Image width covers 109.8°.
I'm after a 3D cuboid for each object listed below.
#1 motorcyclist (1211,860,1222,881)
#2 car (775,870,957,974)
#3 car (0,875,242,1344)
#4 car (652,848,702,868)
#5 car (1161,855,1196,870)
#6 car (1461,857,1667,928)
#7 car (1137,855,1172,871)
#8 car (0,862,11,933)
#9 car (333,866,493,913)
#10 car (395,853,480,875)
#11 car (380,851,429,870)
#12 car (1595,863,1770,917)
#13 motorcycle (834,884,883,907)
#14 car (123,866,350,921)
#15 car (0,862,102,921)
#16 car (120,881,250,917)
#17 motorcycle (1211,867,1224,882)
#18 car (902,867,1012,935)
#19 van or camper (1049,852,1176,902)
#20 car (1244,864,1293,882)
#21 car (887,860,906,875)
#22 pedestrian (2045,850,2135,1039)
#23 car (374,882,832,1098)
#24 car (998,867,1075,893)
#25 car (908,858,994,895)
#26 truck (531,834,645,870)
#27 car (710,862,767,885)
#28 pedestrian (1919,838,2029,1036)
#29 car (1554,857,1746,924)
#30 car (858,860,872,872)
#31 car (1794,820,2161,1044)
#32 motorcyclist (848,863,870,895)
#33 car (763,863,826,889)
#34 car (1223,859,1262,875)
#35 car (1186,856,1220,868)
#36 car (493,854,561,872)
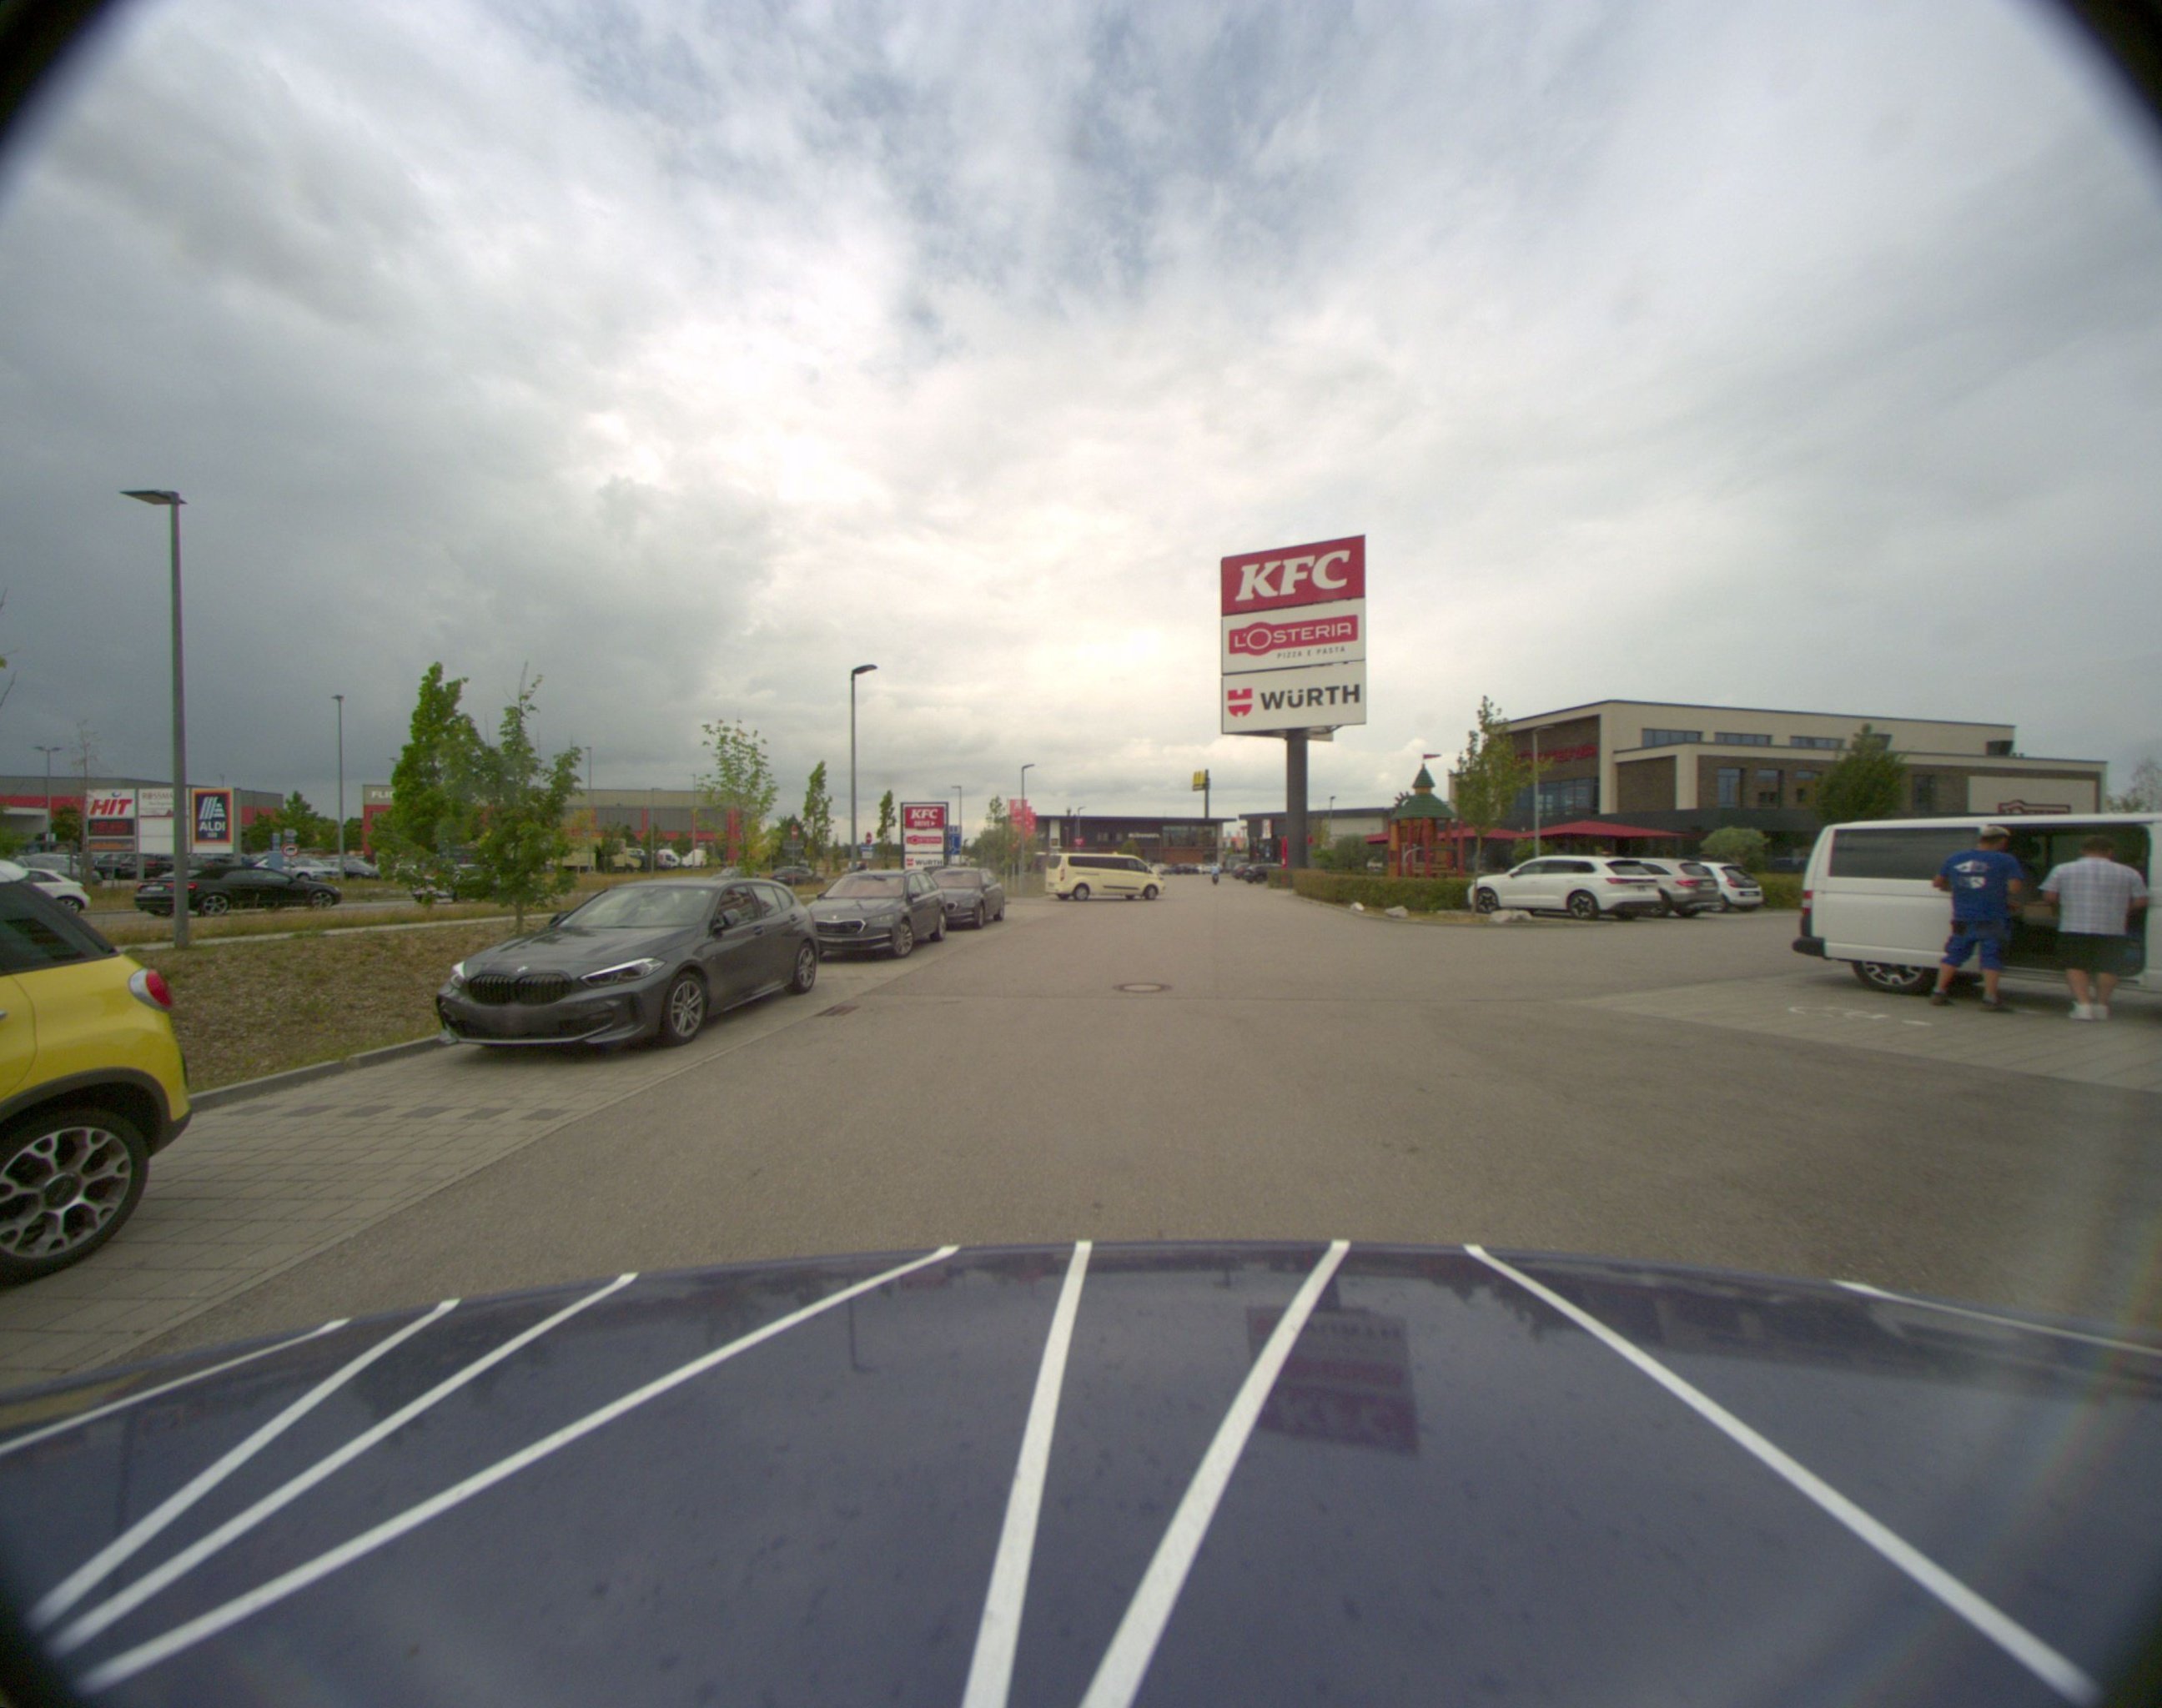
[{"bbox_3d":[10.439,1.268,58.348,0.753,1.628,1.038,-1,0,7],"label":"motorcyclist"},{"bbox_3d":[-3.667,1.089,13.910,1.751,1.482,4.634,-1,0,3],"label":"car"},{"bbox_3d":[-4.673,0.938,1.366,1.752,1.673,4.296,-1,0,-5],"label":"car"},{"bbox_3d":[-43.488,0.443,81.862,4.441,2.110,1.997,-1,0,-14],"label":"car"},{"bbox_3d":[12.732,1.119,99.483,3.989,2.002,2.004,-1,0,36],"label":"car"},{"bbox_3d":[13.239,0.965,21.225,1.760,1.738,4.733,0,0,-22],"label":"car"},{"bbox_3d":[9.499,1.156,97.749,3.989,2.002,2.004,-1,0,36],"label":"car"},{"bbox_3d":[-24.645,0.932,14.620,1.907,1.559,4.337,0,0,3],"label":"car"},{"bbox_3d":[-23.289,1.181,26.705,1.820,1.486,4.003,0,0,8],"label":"car"},{"bbox_3d":[-43.353,0.659,51.257,3.997,1.433,2.000,-1,0,0],"label":"car"},{"bbox_3d":[-60.001,0.546,67.489,1.764,1.644,3.830,0,1,-16],"label":"car"},{"bbox_3d":[19.168,1.070,24.362,2.004,1.556,3.990,-1,0,-35],"label":"car"},{"bbox_3d":[-9.206,1.708,31.449,1.866,0.911,0.556,0,0,7],"label":"motorcycle"},{"bbox_3d":[-24.073,1.058,21.904,1.907,1.389,4.002,0,0,6],"label":"car"},{"bbox_3d":[-28.388,0.967,19.237,1.756,1.472,4.059,-1,0,9],"label":"car"},{"bbox_3d":[-40.880,2.023,34.707,3.994,1.521,2.001,-1,0,9],"label":"car"},{"bbox_3d":[10.423,1.543,58.125,0.816,1.069,2.151,0,0,7],"label":"motorcycle"},{"bbox_3d":[-3.059,1.122,19.657,1.751,1.482,4.489,-1,0,5],"label":"car"},{"bbox_3d":[1.383,0.937,33.003,5.240,2.049,1.856,0,0,-23],"label":"van or camper"},{"bbox_3d":[14.822,1.484,60.063,3.441,1.288,1.499,-1,0,-3],"label":"car"},{"bbox_3d":[-22.624,1.671,93.429,1.907,1.803,3.997,0,0,-8],"label":"car"},{"bbox_3d":[9.364,0.810,7.056,0.586,1.692,0.360,0,0,-22],"label":"pedestrian"},{"bbox_3d":[-4.174,1.071,7.655,1.751,1.407,4.306,-1,0,2],"label":"car"},{"bbox_3d":[-2.407,1.421,41.898,3.995,1.412,1.811,0,0,6],"label":"car"},{"bbox_3d":[-5.290,0.899,31.142,3.121,1.438,1.508,1,0,7],"label":"car"},{"bbox_3d":[-43.338,-0.197,67.162,2.673,2.928,8.197,0,1,25],"label":"truck"},{"bbox_3d":[-24.068,1.333,53.573,1.756,1.472,4.534,-1,0,3],"label":"car"},{"bbox_3d":[8.819,0.772,7.508,0.590,1.845,0.624,-1,1,-32],"label":"pedestrian"},{"bbox_3d":[16.136,0.962,21.800,1.913,1.696,3.993,-1,0,-22],"label":"car"},{"bbox_3d":[-32.581,1.793,114.662,2.002,1.667,3.994,0,0,-18],"label":"car"},{"bbox_3d":[10.446,0.688,7.387,1.940,2.002,4.749,-1,0,-26],"label":"car"},{"bbox_3d":[-9.180,1.009,31.449,0.672,1.308,0.576,0,0,8],"label":"motorcyclist"},{"bbox_3d":[-17.374,1.293,46.335,1.998,1.506,4.371,0,0,3],"label":"car"},{"bbox_3d":[18.710,1.522,88.165,4.000,1.827,1.999,-1,0,-8],"label":"car"},{"bbox_3d":[16.408,1.075,101.933,3.989,1.652,2.004,-1,0,36],"label":"car"},{"bbox_3d":[-42.752,0.684,58.722,3.843,1.419,1.740,0,0,-12],"label":"car"}]
